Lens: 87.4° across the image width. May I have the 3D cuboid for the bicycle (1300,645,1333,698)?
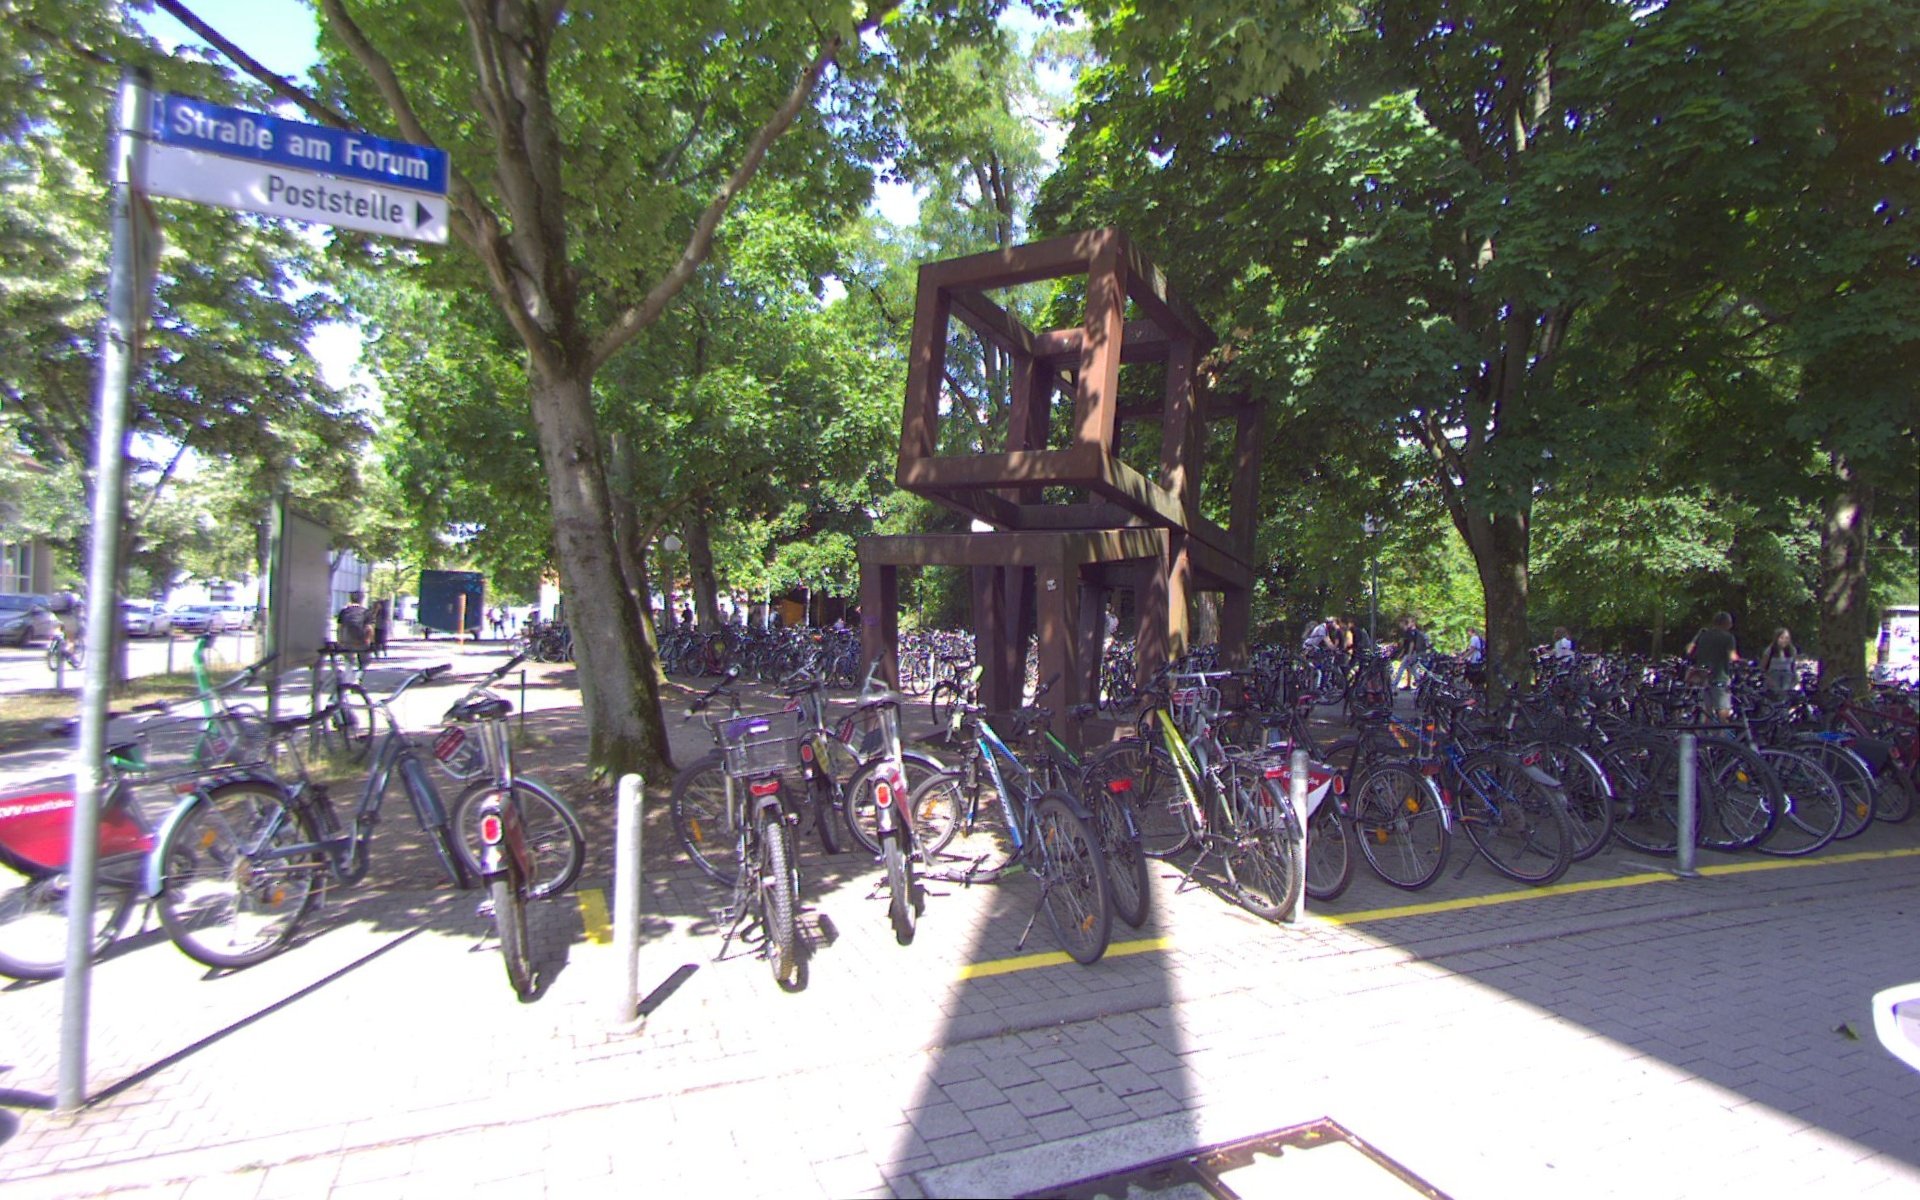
[{"bbox_3d":[7.946,1.560,22.361,0.465,1.098,1.698,2,-1,27],"label":"bicycle"}]

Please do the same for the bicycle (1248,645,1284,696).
[{"bbox_3d":[6.966,1.578,22.803,0.465,1.098,1.698,2,-1,27],"label":"bicycle"}]

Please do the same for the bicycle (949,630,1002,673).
[{"bbox_3d":[0.412,1.364,26.616,0.466,1.098,1.694,2,-1,36],"label":"bicycle"}]

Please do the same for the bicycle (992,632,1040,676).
[{"bbox_3d":[1.470,1.396,26.139,0.466,1.098,1.696,2,-1,32],"label":"bicycle"}]

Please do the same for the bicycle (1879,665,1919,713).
[{"bbox_3d":[24.170,2.262,25.309,0.464,1.125,1.779,3,-1,5],"label":"bicycle"}]

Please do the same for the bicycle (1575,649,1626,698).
[{"bbox_3d":[16.155,1.832,25.367,0.507,1.125,1.779,2,-1,14],"label":"bicycle"}]

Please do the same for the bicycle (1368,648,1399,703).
[{"bbox_3d":[9.199,1.612,21.779,0.465,1.098,1.698,2,-1,27],"label":"bicycle"}]

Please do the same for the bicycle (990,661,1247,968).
[{"bbox_3d":[0.679,0.915,4.858,0.489,1.122,1.623,3,-1,-19],"label":"bicycle"}]

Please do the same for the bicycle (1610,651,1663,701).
[{"bbox_3d":[17.012,1.893,25.307,0.507,1.125,1.779,2,-1,14],"label":"bicycle"}]

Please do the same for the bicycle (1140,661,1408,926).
[{"bbox_3d":[1.623,0.950,5.488,0.498,1.122,1.623,3,-1,-19],"label":"bicycle"}]

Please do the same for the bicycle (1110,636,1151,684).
[{"bbox_3d":[4.140,1.438,24.285,0.465,1.098,1.698,2,-1,27],"label":"bicycle"}]

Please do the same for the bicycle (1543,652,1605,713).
[{"bbox_3d":[12.392,1.640,20.312,0.464,1.098,1.701,3,-1,11],"label":"bicycle"}]

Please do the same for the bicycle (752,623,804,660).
[{"bbox_3d":[-5.664,1.302,31.340,0.466,1.098,1.694,2,-1,36],"label":"bicycle"}]

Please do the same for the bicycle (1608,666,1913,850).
[{"bbox_3d":[5.969,1.126,7.633,0.707,1.122,1.722,3,-1,-13],"label":"bicycle"}]

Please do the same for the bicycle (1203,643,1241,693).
[{"bbox_3d":[6.063,1.553,23.234,0.465,1.098,1.698,2,-1,27],"label":"bicycle"}]

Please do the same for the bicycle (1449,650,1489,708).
[{"bbox_3d":[10.688,1.636,21.114,0.465,1.098,1.700,2,-1,18],"label":"bicycle"}]

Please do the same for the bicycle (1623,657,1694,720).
[{"bbox_3d":[13.651,1.702,19.682,0.464,1.098,1.701,3,-1,11],"label":"bicycle"}]

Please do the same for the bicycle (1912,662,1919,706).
[{"bbox_3d":[25.042,2.168,25.327,0.464,1.125,1.779,3,-1,5],"label":"bicycle"}]

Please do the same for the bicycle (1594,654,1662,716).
[{"bbox_3d":[13.151,1.645,19.823,0.464,1.098,1.701,3,-1,11],"label":"bicycle"}]

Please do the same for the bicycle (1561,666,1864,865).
[{"bbox_3d":[5.192,1.082,7.047,0.491,1.122,1.617,3,-1,-29],"label":"bicycle"}]

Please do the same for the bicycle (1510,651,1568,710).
[{"bbox_3d":[11.837,1.625,20.573,0.464,1.098,1.701,3,-1,11],"label":"bicycle"}]

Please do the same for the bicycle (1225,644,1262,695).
[{"bbox_3d":[6.504,1.571,22.991,0.465,1.098,1.698,2,-1,27],"label":"bicycle"}]

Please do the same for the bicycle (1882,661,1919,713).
[{"bbox_3d":[22.212,2.030,23.337,0.465,1.125,1.778,2,-1,19],"label":"bicycle"}]

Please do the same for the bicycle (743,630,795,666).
[{"bbox_3d":[-6.017,1.507,31.718,0.466,1.098,1.694,2,-1,36],"label":"bicycle"}]

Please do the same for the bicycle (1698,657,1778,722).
[{"bbox_3d":[14.970,1.697,19.365,0.464,1.098,1.701,3,-1,11],"label":"bicycle"}]

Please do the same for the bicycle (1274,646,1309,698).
[{"bbox_3d":[7.592,1.629,22.970,0.465,1.098,1.698,2,-1,27],"label":"bicycle"}]

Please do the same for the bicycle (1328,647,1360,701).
[{"bbox_3d":[8.443,1.608,22.053,0.465,1.098,1.698,2,-1,27],"label":"bicycle"}]

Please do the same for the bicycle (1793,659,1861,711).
[{"bbox_3d":[20.752,2.011,24.078,0.464,1.125,1.779,2,-1,14],"label":"bicycle"}]

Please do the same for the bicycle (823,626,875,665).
[{"bbox_3d":[-3.227,1.323,29.326,0.466,1.098,1.694,2,-1,36],"label":"bicycle"}]

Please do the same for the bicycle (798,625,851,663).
[{"bbox_3d":[-4.039,1.316,30.016,0.466,1.098,1.694,2,-1,36],"label":"bicycle"}]

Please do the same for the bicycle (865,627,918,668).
[{"bbox_3d":[-1.936,1.337,28.472,0.466,1.098,1.694,2,-1,36],"label":"bicycle"}]

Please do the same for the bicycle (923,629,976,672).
[{"bbox_3d":[-0.269,1.367,27.372,0.466,1.098,1.694,2,-1,36],"label":"bicycle"}]

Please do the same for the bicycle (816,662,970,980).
[{"bbox_3d":[-0.369,0.896,4.682,0.488,1.123,1.626,0,0,-12],"label":"bicycle"}]

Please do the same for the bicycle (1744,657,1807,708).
[{"bbox_3d":[19.952,1.998,24.604,0.464,1.125,1.779,2,-1,14],"label":"bicycle"}]

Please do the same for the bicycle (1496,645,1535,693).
[{"bbox_3d":[14.332,1.763,25.941,0.507,1.125,1.778,2,-1,18],"label":"bicycle"}]

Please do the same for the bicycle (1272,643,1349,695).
[{"bbox_3d":[8.384,1.636,24.037,1.667,1.098,0.603,2,0,26],"label":"bicycle"}]

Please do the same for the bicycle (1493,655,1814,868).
[{"bbox_3d":[4.700,1.027,6.958,0.491,1.177,1.772,3,-1,-29],"label":"bicycle"}]

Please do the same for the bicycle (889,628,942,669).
[{"bbox_3d":[-1.229,1.356,28.135,0.466,1.098,1.694,2,-1,36],"label":"bicycle"}]

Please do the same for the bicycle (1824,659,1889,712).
[{"bbox_3d":[21.245,2.012,23.838,0.465,1.125,1.778,2,-1,19],"label":"bicycle"}]

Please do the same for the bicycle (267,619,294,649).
[{"bbox_3d":[-26.443,1.318,39.108,0.662,1.122,2.056,1,-1,-29],"label":"bicycle"}]

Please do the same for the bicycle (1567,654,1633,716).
[{"bbox_3d":[12.671,1.660,19.936,0.464,1.098,1.701,3,-1,11],"label":"bicycle"}]

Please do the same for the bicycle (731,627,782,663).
[{"bbox_3d":[-6.481,1.443,32.073,0.466,1.098,1.694,2,-1,36],"label":"bicycle"}]

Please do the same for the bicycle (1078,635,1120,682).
[{"bbox_3d":[3.449,1.432,24.877,0.465,1.098,1.698,2,-1,27],"label":"bicycle"}]

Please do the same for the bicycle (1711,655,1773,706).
[{"bbox_3d":[18.966,1.939,24.398,0.464,1.125,1.779,2,-1,14],"label":"bicycle"}]

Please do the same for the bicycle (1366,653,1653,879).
[{"bbox_3d":[3.423,0.975,6.426,0.490,1.166,1.620,3,-1,-23],"label":"bicycle"}]

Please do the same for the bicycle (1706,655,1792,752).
[{"bbox_3d":[11.046,1.412,14.102,0.565,1.215,1.698,2,-1,26],"label":"bicycle"}]

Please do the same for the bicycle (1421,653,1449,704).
[{"bbox_3d":[9.955,1.615,21.032,0.444,0.974,1.738,2,-1,27],"label":"bicycle"}]

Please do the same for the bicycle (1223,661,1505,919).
[{"bbox_3d":[2.159,0.958,5.609,0.489,1.122,1.623,3,-1,-19],"label":"bicycle"}]

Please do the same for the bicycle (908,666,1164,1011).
[{"bbox_3d":[0.247,0.914,4.438,0.489,1.122,1.623,3,-1,-19],"label":"bicycle"}]

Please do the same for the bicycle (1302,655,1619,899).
[{"bbox_3d":[2.823,0.939,5.871,0.680,1.122,1.623,3,-1,-19],"label":"bicycle"}]

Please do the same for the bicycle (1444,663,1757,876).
[{"bbox_3d":[4.154,1.035,6.651,0.637,1.122,1.617,3,-1,-29],"label":"bicycle"}]

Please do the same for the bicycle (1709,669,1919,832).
[{"bbox_3d":[7.255,1.200,8.392,0.553,1.122,1.627,3,-1,-10],"label":"bicycle"}]

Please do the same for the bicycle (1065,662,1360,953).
[{"bbox_3d":[1.183,0.932,5.093,0.620,1.122,1.622,3,-1,-19],"label":"bicycle"}]

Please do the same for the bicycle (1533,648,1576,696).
[{"bbox_3d":[15.162,1.822,25.644,0.507,1.125,1.778,2,-1,18],"label":"bicycle"}]

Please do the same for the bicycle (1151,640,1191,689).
[{"bbox_3d":[5.038,1.514,23.897,0.465,1.098,1.698,2,-1,27],"label":"bicycle"}]

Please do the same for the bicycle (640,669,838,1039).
[{"bbox_3d":[-0.980,0.896,4.163,0.490,1.123,1.620,0,0,-24],"label":"bicycle"}]

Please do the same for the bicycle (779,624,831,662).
[{"bbox_3d":[-4.731,1.318,30.783,0.466,1.098,1.694,2,-1,36],"label":"bicycle"}]
